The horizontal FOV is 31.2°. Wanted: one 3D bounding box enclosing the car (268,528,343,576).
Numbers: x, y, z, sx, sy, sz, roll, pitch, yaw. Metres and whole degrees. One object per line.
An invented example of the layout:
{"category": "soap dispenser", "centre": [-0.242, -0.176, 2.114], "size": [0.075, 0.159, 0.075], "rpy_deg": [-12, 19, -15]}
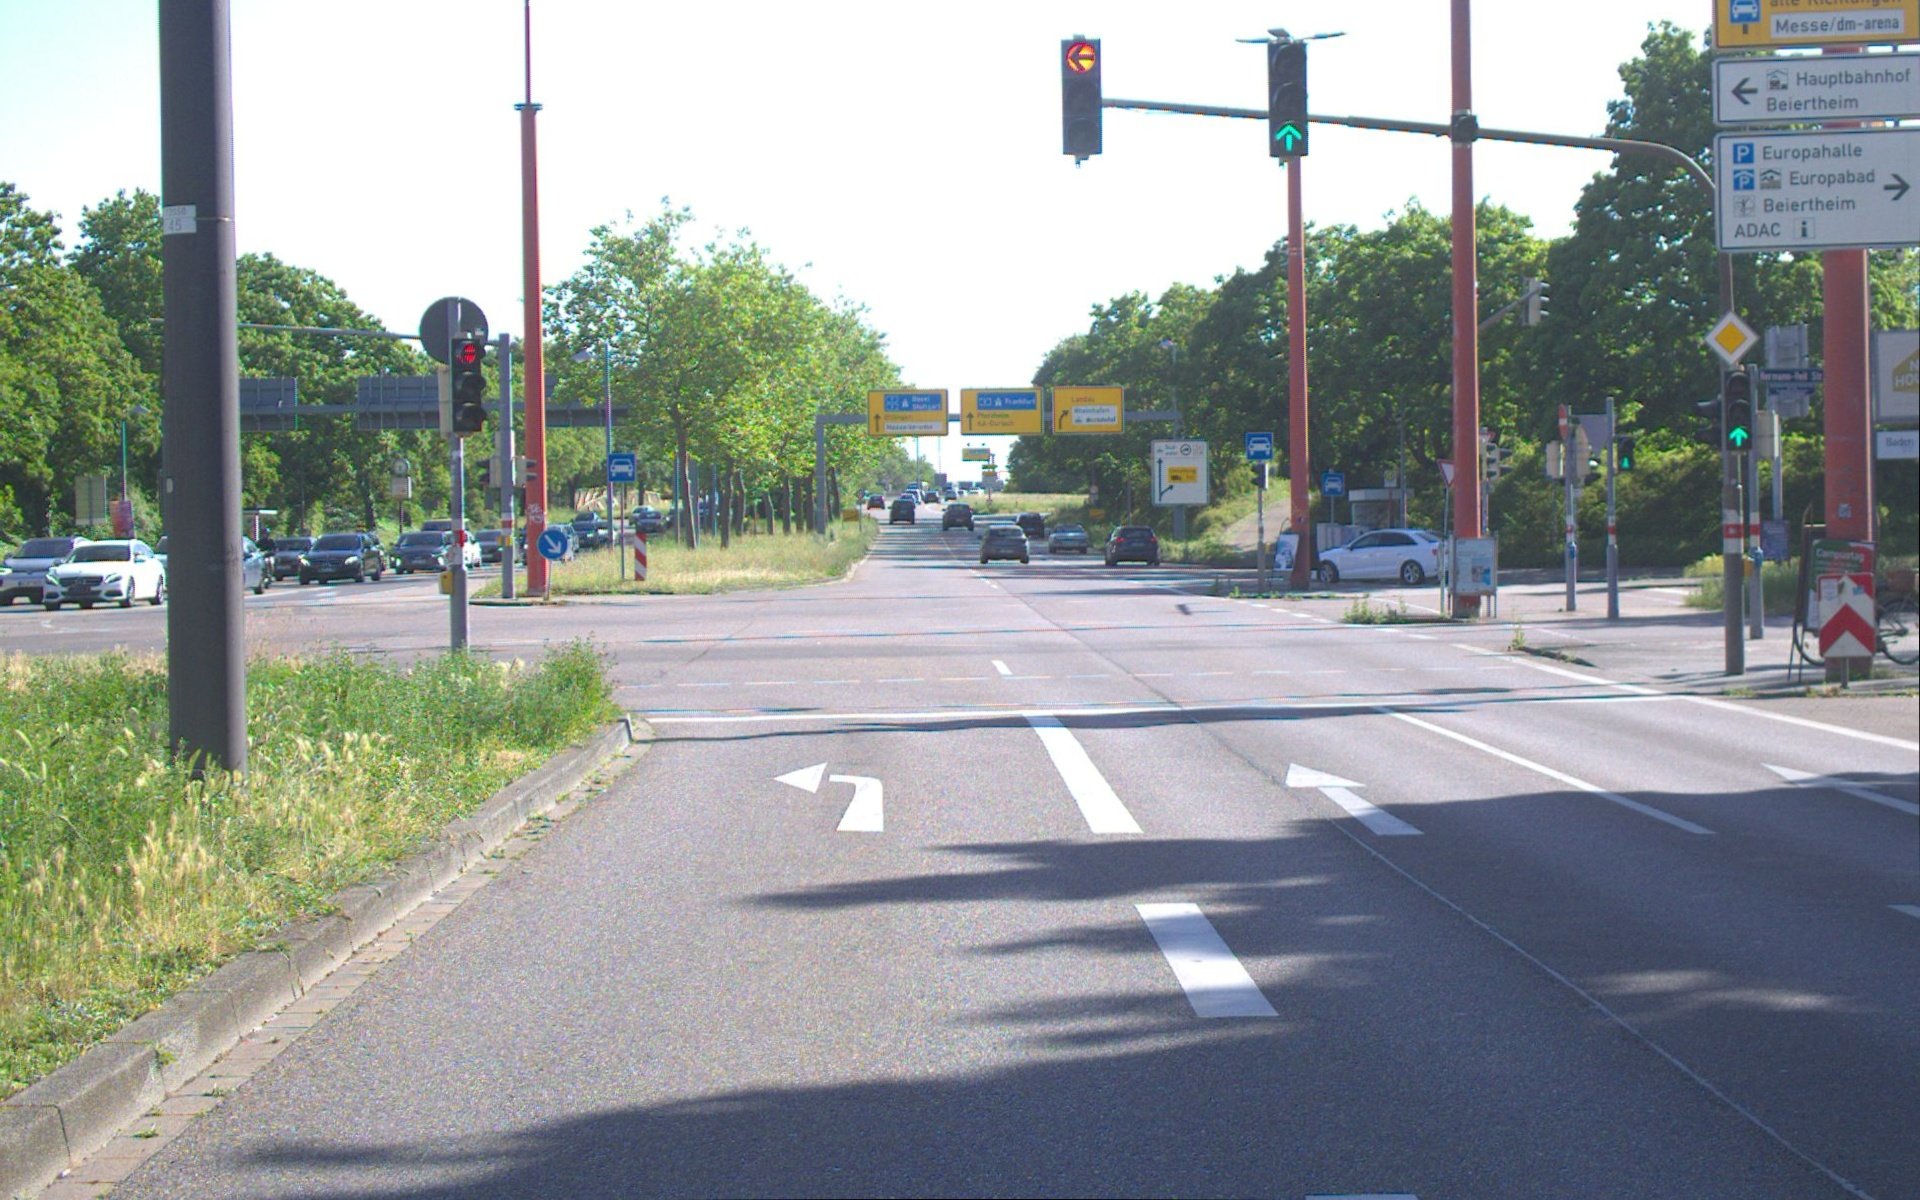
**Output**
{"category": "car", "centre": [-21.875, -1.620, 115.003], "size": [1.876, 1.570, 4.001], "rpy_deg": [0, 1, -2]}

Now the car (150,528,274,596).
{"category": "car", "centre": [-18.353, -0.951, 84.561], "size": [1.993, 1.589, 4.464], "rpy_deg": [-1, 1, 1]}

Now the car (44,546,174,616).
{"category": "car", "centre": [-18.295, -0.438, 74.052], "size": [1.703, 1.418, 4.643], "rpy_deg": [-1, 1, -1]}

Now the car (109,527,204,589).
{"category": "car", "centre": [-23.138, -1.220, 99.127], "size": [1.800, 1.702, 4.060], "rpy_deg": [-1, 1, -1]}

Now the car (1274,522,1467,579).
{"category": "car", "centre": [10.176, -1.232, 85.440], "size": [4.388, 1.366, 2.056], "rpy_deg": [1, 2, 43]}

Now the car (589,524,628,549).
{"category": "car", "centre": [-19.411, -3.508, 189.819], "size": [2.003, 1.303, 4.001], "rpy_deg": [-1, 1, -4]}

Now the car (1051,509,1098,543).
{"category": "car", "centre": [5.266, -3.401, 158.374], "size": [1.993, 1.535, 4.000], "rpy_deg": [0, 1, -1]}

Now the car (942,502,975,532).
{"category": "car", "centre": [-0.136, -5.581, 230.733], "size": [2.154, 2.007, 4.000], "rpy_deg": [-1, 1, -1]}

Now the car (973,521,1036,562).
{"category": "car", "centre": [1.682, -2.230, 130.754], "size": [1.993, 1.491, 4.001], "rpy_deg": [-1, 1, -5]}

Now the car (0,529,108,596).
{"category": "car", "centre": [-22.063, -0.919, 83.477], "size": [1.876, 1.570, 4.001], "rpy_deg": [0, 1, -2]}

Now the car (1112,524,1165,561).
{"category": "car", "centre": [6.569, -2.122, 126.474], "size": [1.738, 1.337, 3.082], "rpy_deg": [-1, 1, -1]}

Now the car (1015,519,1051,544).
{"category": "car", "centre": [4.440, -4.175, 209.255], "size": [1.993, 1.535, 4.000], "rpy_deg": [-1, 1, -1]}

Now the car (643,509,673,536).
{"category": "car", "centre": [-19.661, -5.033, 224.141], "size": [1.625, 1.733, 4.000], "rpy_deg": [0, 1, 0]}

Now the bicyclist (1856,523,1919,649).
{"category": "bicyclist", "centre": [10.164, -0.157, 36.953], "size": [0.739, 1.337, 0.708], "rpy_deg": [0, 1, -27]}

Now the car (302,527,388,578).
{"category": "car", "centre": [-18.136, -1.407, 101.550], "size": [1.876, 1.480, 4.606], "rpy_deg": [0, 1, -2]}

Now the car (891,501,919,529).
{"category": "car", "centre": [-4.087, -6.276, 254.196], "size": [1.993, 2.007, 4.001], "rpy_deg": [0, 1, -2]}

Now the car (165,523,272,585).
{"category": "car", "centre": [-19.853, -1.228, 92.231], "size": [1.838, 1.595, 4.438], "rpy_deg": [-1, 1, 1]}

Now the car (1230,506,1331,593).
{"category": "car", "centre": [7.234, -1.151, 77.317], "size": [1.994, 1.881, 3.999], "rpy_deg": [0, 1, 9]}

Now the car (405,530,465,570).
{"category": "car", "centre": [-18.471, -1.780, 121.087], "size": [1.548, 1.372, 4.263], "rpy_deg": [-1, 1, -1]}

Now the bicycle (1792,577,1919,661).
{"category": "bicycle", "centre": [10.010, 0.204, 36.887], "size": [2.161, 0.875, 0.560], "rpy_deg": [0, 1, -22]}
